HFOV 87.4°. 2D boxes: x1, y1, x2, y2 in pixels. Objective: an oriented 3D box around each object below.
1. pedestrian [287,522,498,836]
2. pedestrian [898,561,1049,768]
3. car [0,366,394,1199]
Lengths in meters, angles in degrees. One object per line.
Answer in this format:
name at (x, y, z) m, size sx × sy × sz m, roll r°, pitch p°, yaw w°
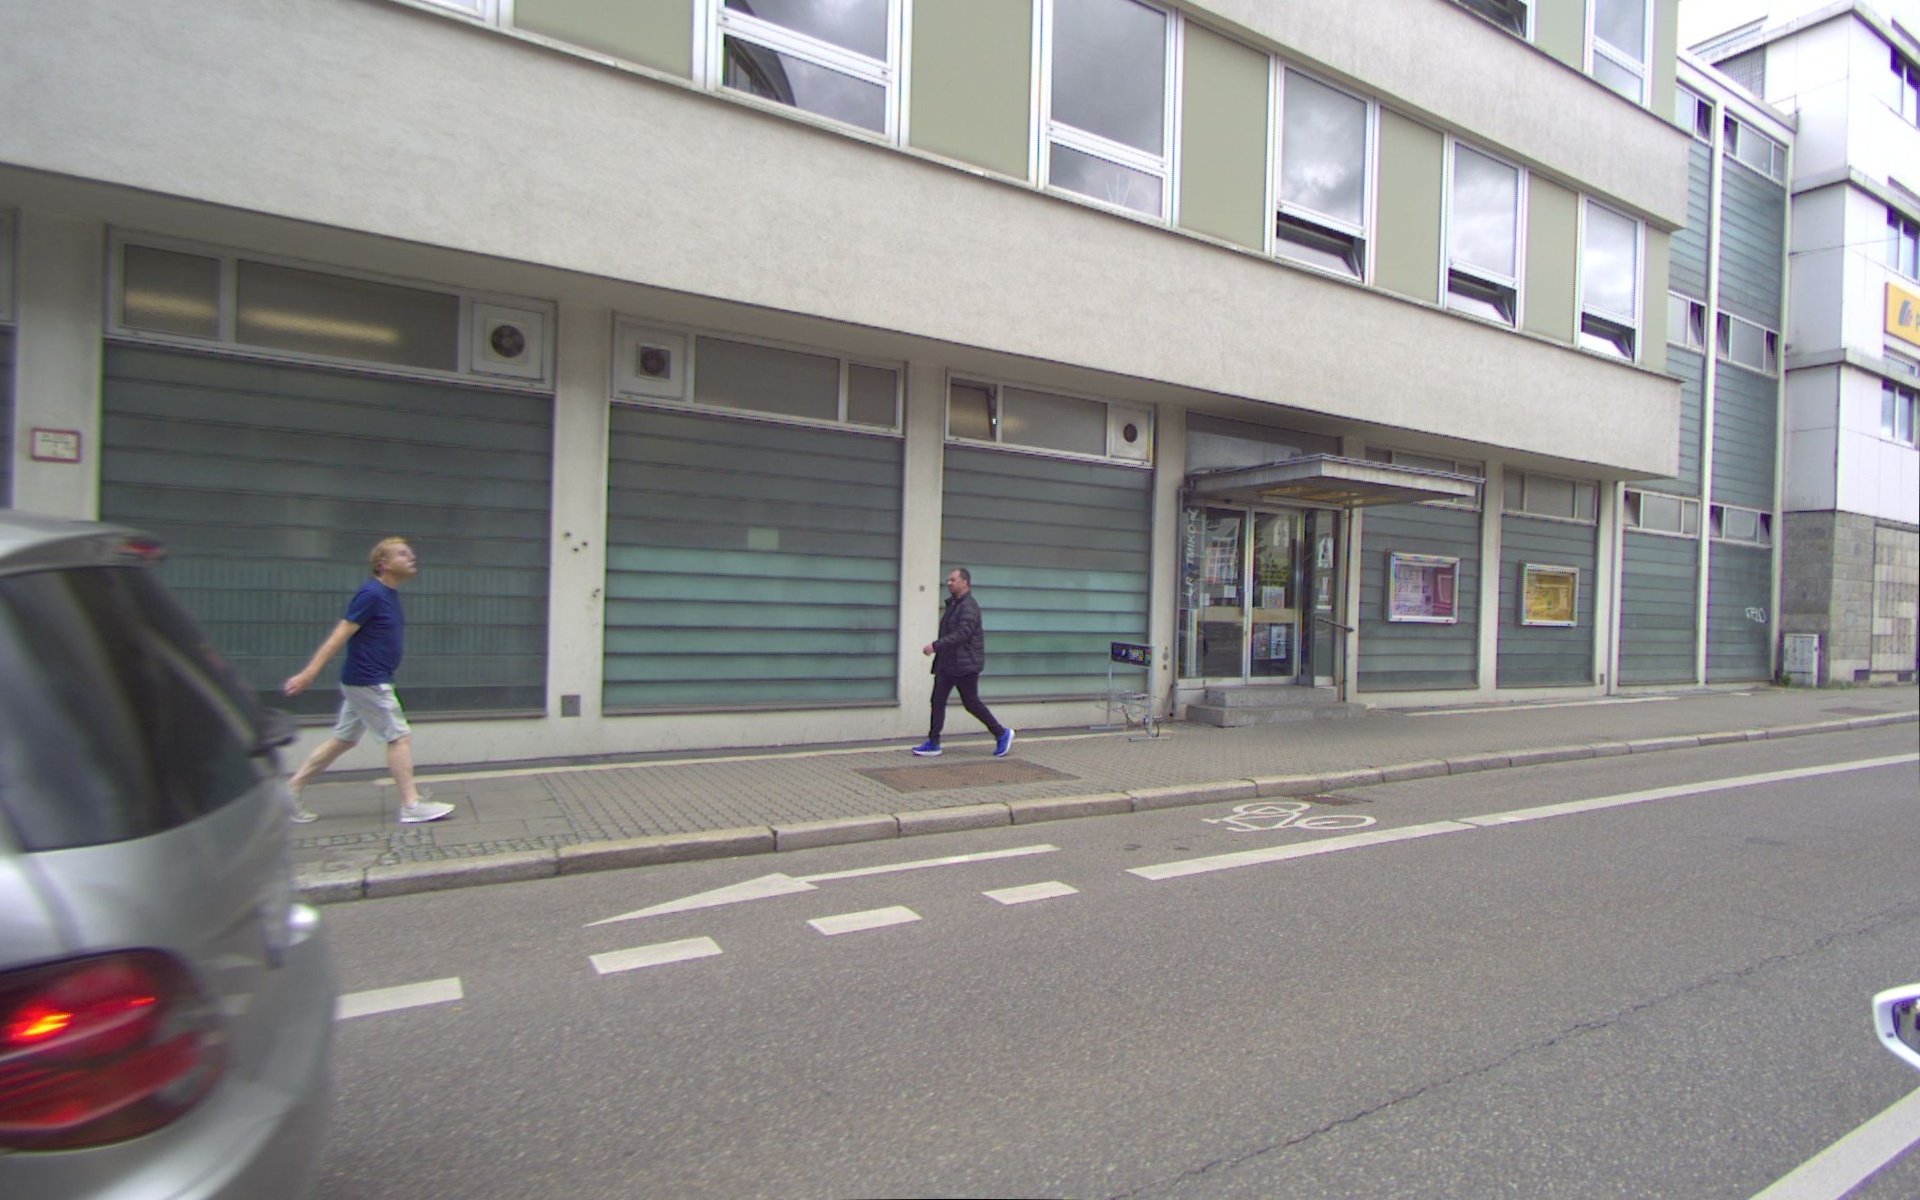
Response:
pedestrian at (-3.429, 0.448, 6.099) m, size 1.044 × 1.741 × 0.586 m, roll 1°, pitch 0°, yaw -33°
pedestrian at (0.110, 0.543, 9.077) m, size 1.020 × 1.741 × 0.857 m, roll 1°, pitch 2°, yaw -33°
car at (-3.122, 0.563, 0.716) m, size 4.712 × 1.653 × 1.767 m, roll 1°, pitch -1°, yaw -30°
